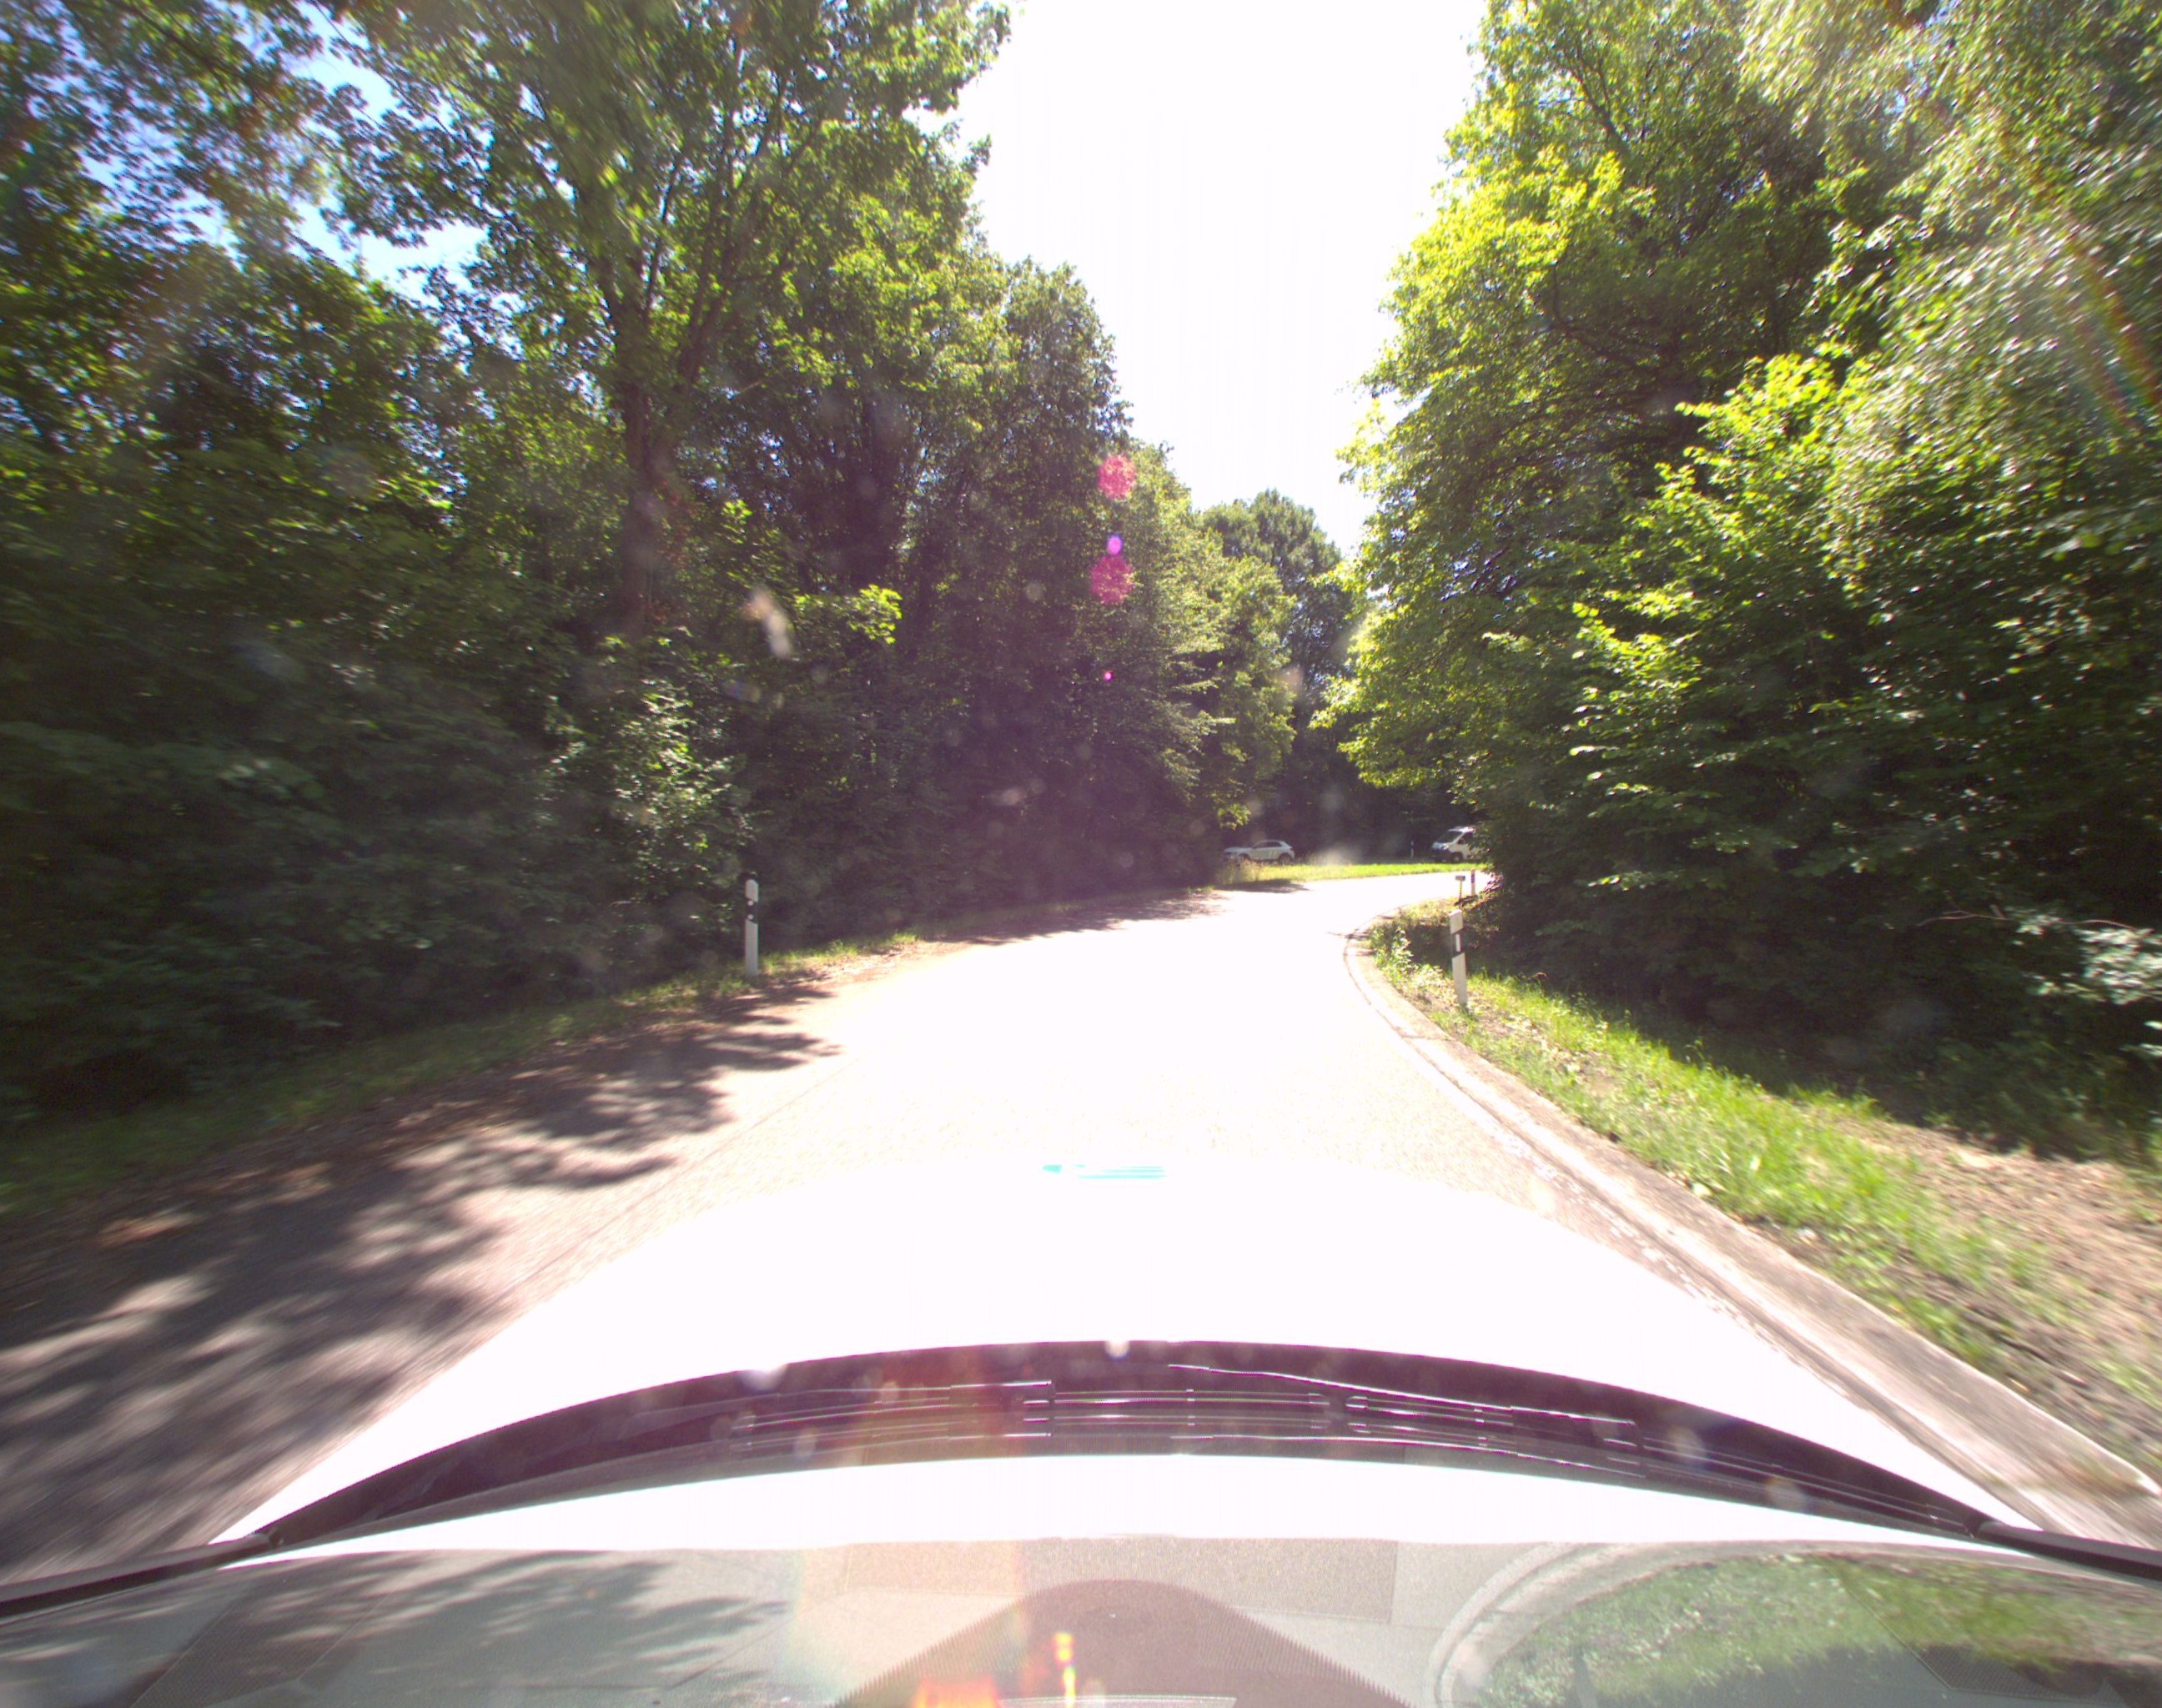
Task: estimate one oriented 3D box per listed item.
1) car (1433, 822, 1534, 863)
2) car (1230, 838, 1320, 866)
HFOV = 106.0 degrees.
[{"bbox_3d":[24.939,-0.749,50.515,5.411,2.345,2.061,-1,4,-11],"label":"car"},{"bbox_3d":[11.337,-0.126,47.564,4.859,1.451,1.754,-1,4,-13],"label":"car"}]
